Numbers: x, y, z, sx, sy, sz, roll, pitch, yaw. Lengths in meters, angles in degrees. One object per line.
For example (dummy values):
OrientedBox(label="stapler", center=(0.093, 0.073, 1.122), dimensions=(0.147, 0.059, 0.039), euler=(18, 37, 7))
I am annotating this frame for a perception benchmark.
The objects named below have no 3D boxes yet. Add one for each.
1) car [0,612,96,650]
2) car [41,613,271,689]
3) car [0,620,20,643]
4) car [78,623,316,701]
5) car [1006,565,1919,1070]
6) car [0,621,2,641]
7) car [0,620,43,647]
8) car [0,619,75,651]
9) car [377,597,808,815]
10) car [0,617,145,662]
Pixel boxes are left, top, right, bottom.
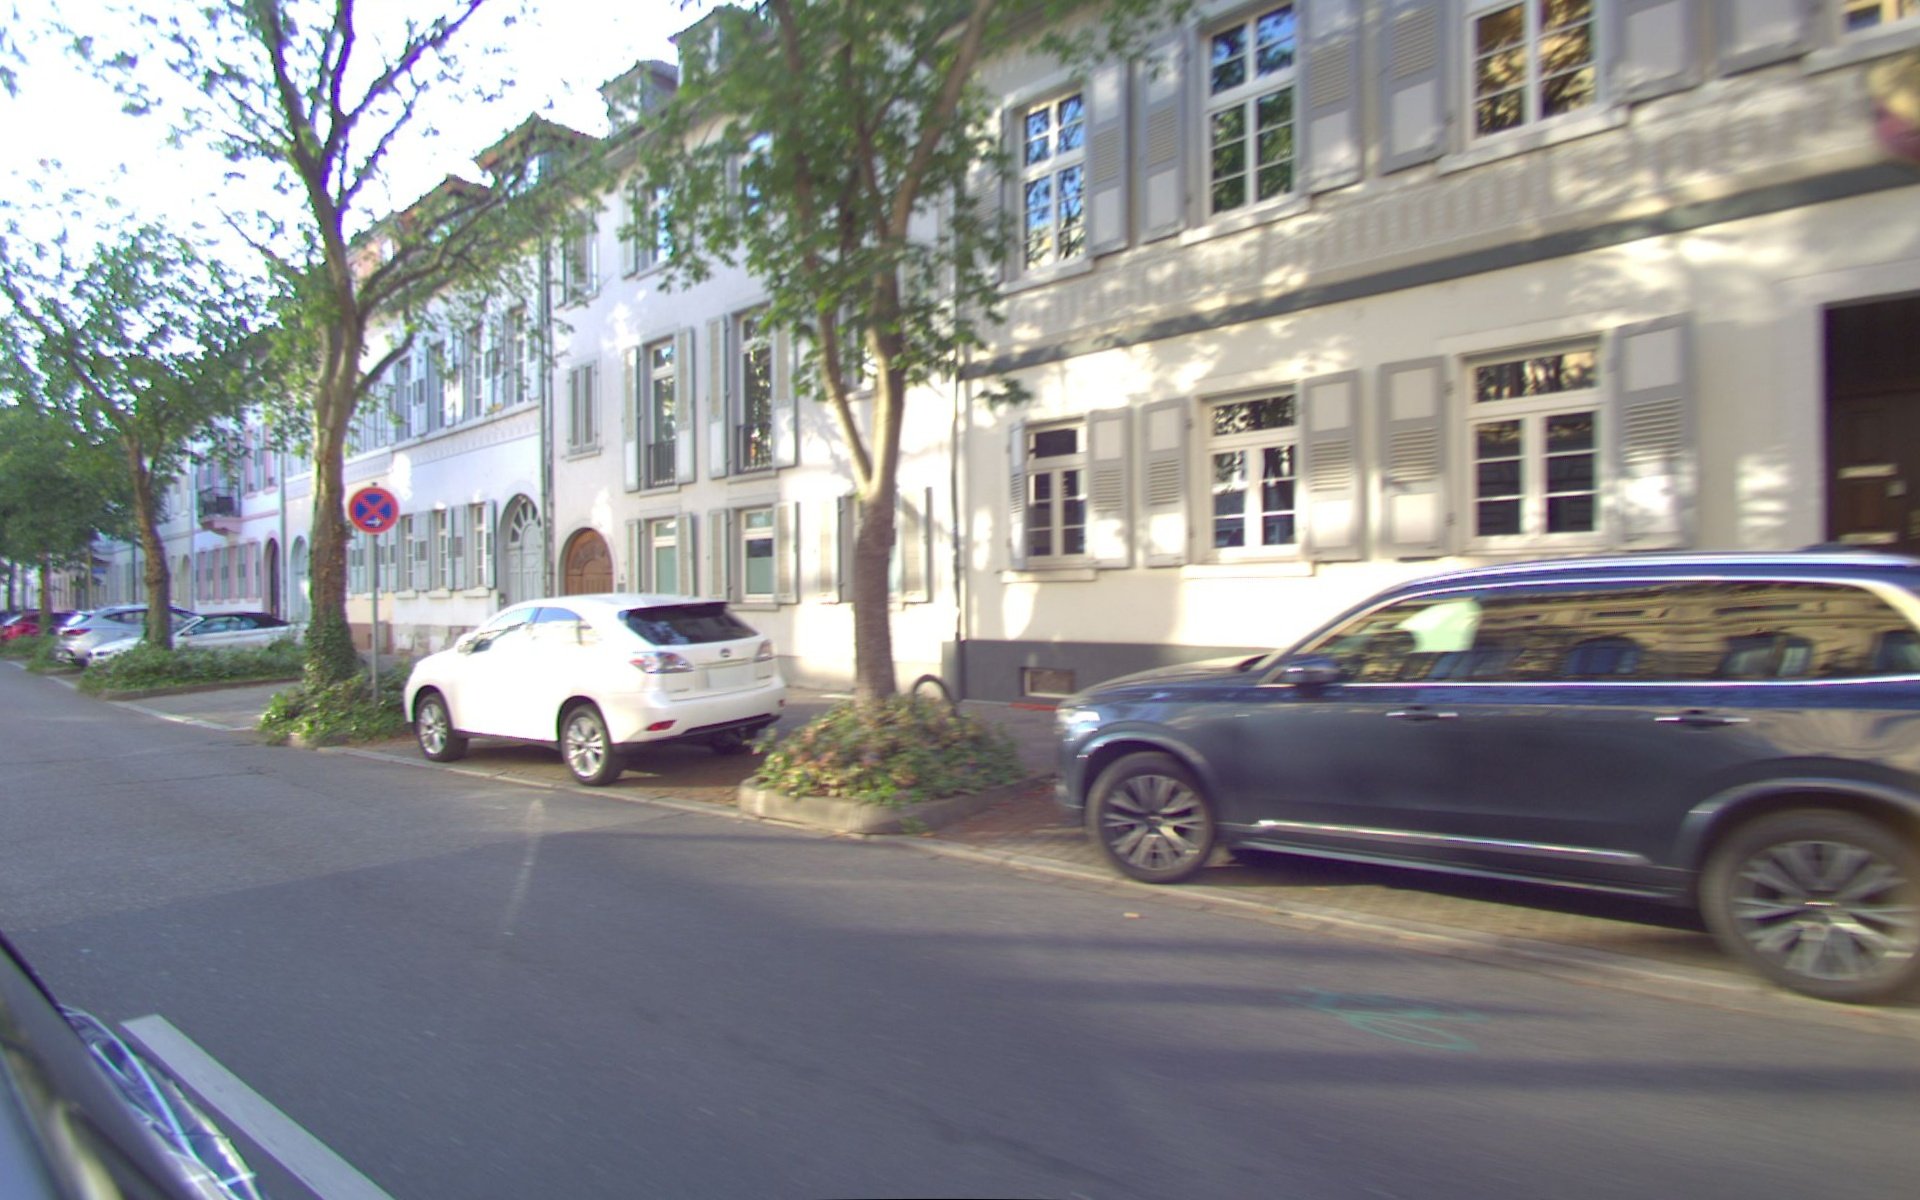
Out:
OrientedBox(label="car", center=(-43.165, 1.426, 47.171), dimensions=(1.799, 1.677, 4.177), euler=(-1, -1, 39))
OrientedBox(label="car", center=(-19.640, 1.178, 24.873), dimensions=(1.799, 1.702, 4.177), euler=(-1, -1, 39))
OrientedBox(label="car", center=(-64.044, 2.087, 65.712), dimensions=(1.967, 1.488, 4.177), euler=(-1, -1, 39))
OrientedBox(label="car", center=(-17.427, 1.341, 23.240), dimensions=(1.802, 1.557, 4.171), euler=(-1, -1, 45))
OrientedBox(label="car", center=(2.862, 0.794, 5.239), dimensions=(5.039, 1.772, 1.812), euler=(-1, 3, 36))
OrientedBox(label="car", center=(-74.257, 2.313, 75.282), dimensions=(1.967, 1.488, 4.177), euler=(-1, -1, 39))
OrientedBox(label="car", center=(-54.803, 1.886, 57.244), dimensions=(1.852, 1.488, 4.177), euler=(-1, -1, 39))
OrientedBox(label="car", center=(-46.749, 1.711, 50.138), dimensions=(1.757, 1.529, 4.177), euler=(-1, -1, 39))
OrientedBox(label="car", center=(-3.901, 0.900, 10.377), dimensions=(4.647, 1.680, 1.812), euler=(-1, 3, 36))
OrientedBox(label="car", center=(-32.896, 1.414, 37.320), dimensions=(1.799, 1.519, 4.177), euler=(-1, -1, 39))
